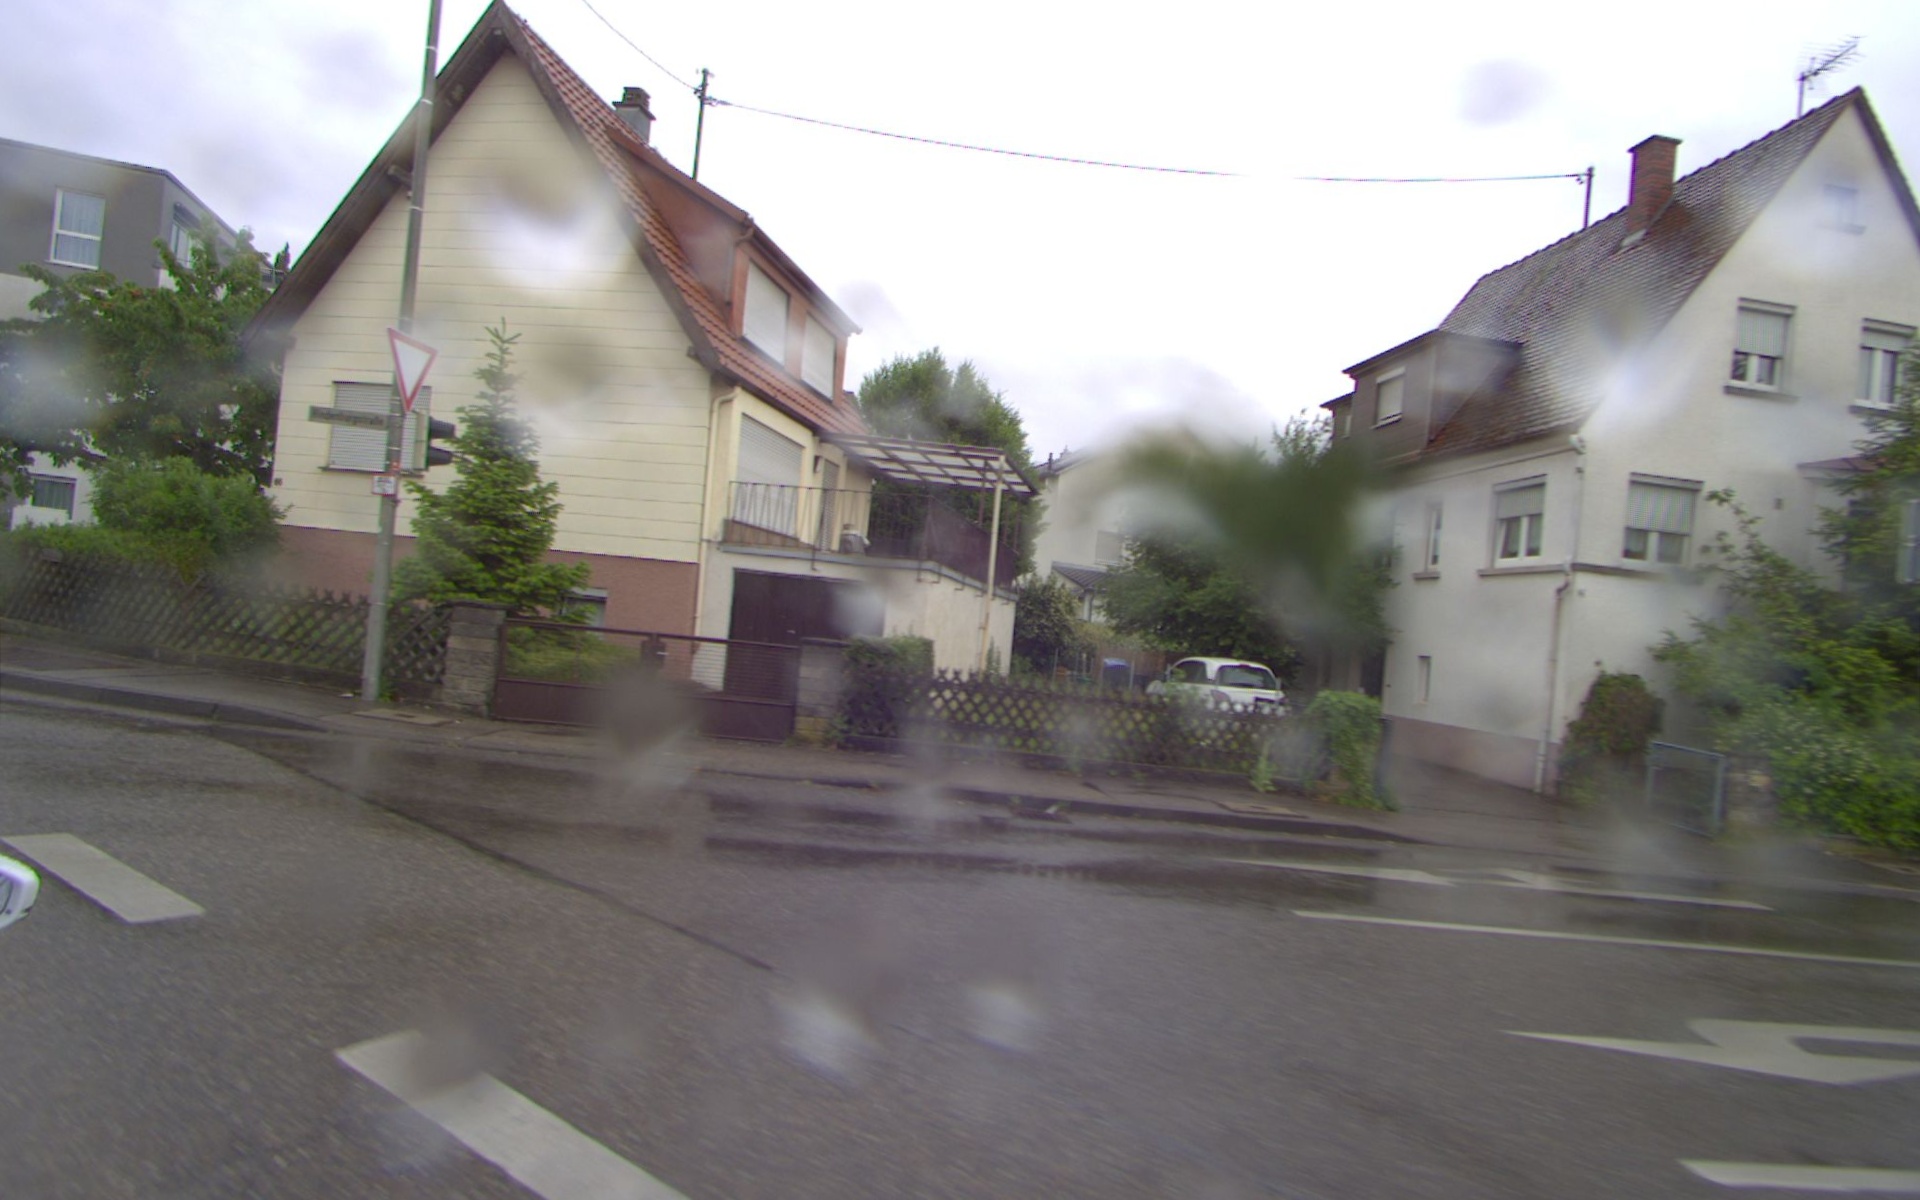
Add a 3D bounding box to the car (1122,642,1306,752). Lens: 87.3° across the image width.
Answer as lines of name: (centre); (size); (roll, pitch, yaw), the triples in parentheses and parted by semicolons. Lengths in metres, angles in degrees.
car: (4.602, 1.729, 18.842); (1.820, 1.514, 3.736); (7, -1, -10)
